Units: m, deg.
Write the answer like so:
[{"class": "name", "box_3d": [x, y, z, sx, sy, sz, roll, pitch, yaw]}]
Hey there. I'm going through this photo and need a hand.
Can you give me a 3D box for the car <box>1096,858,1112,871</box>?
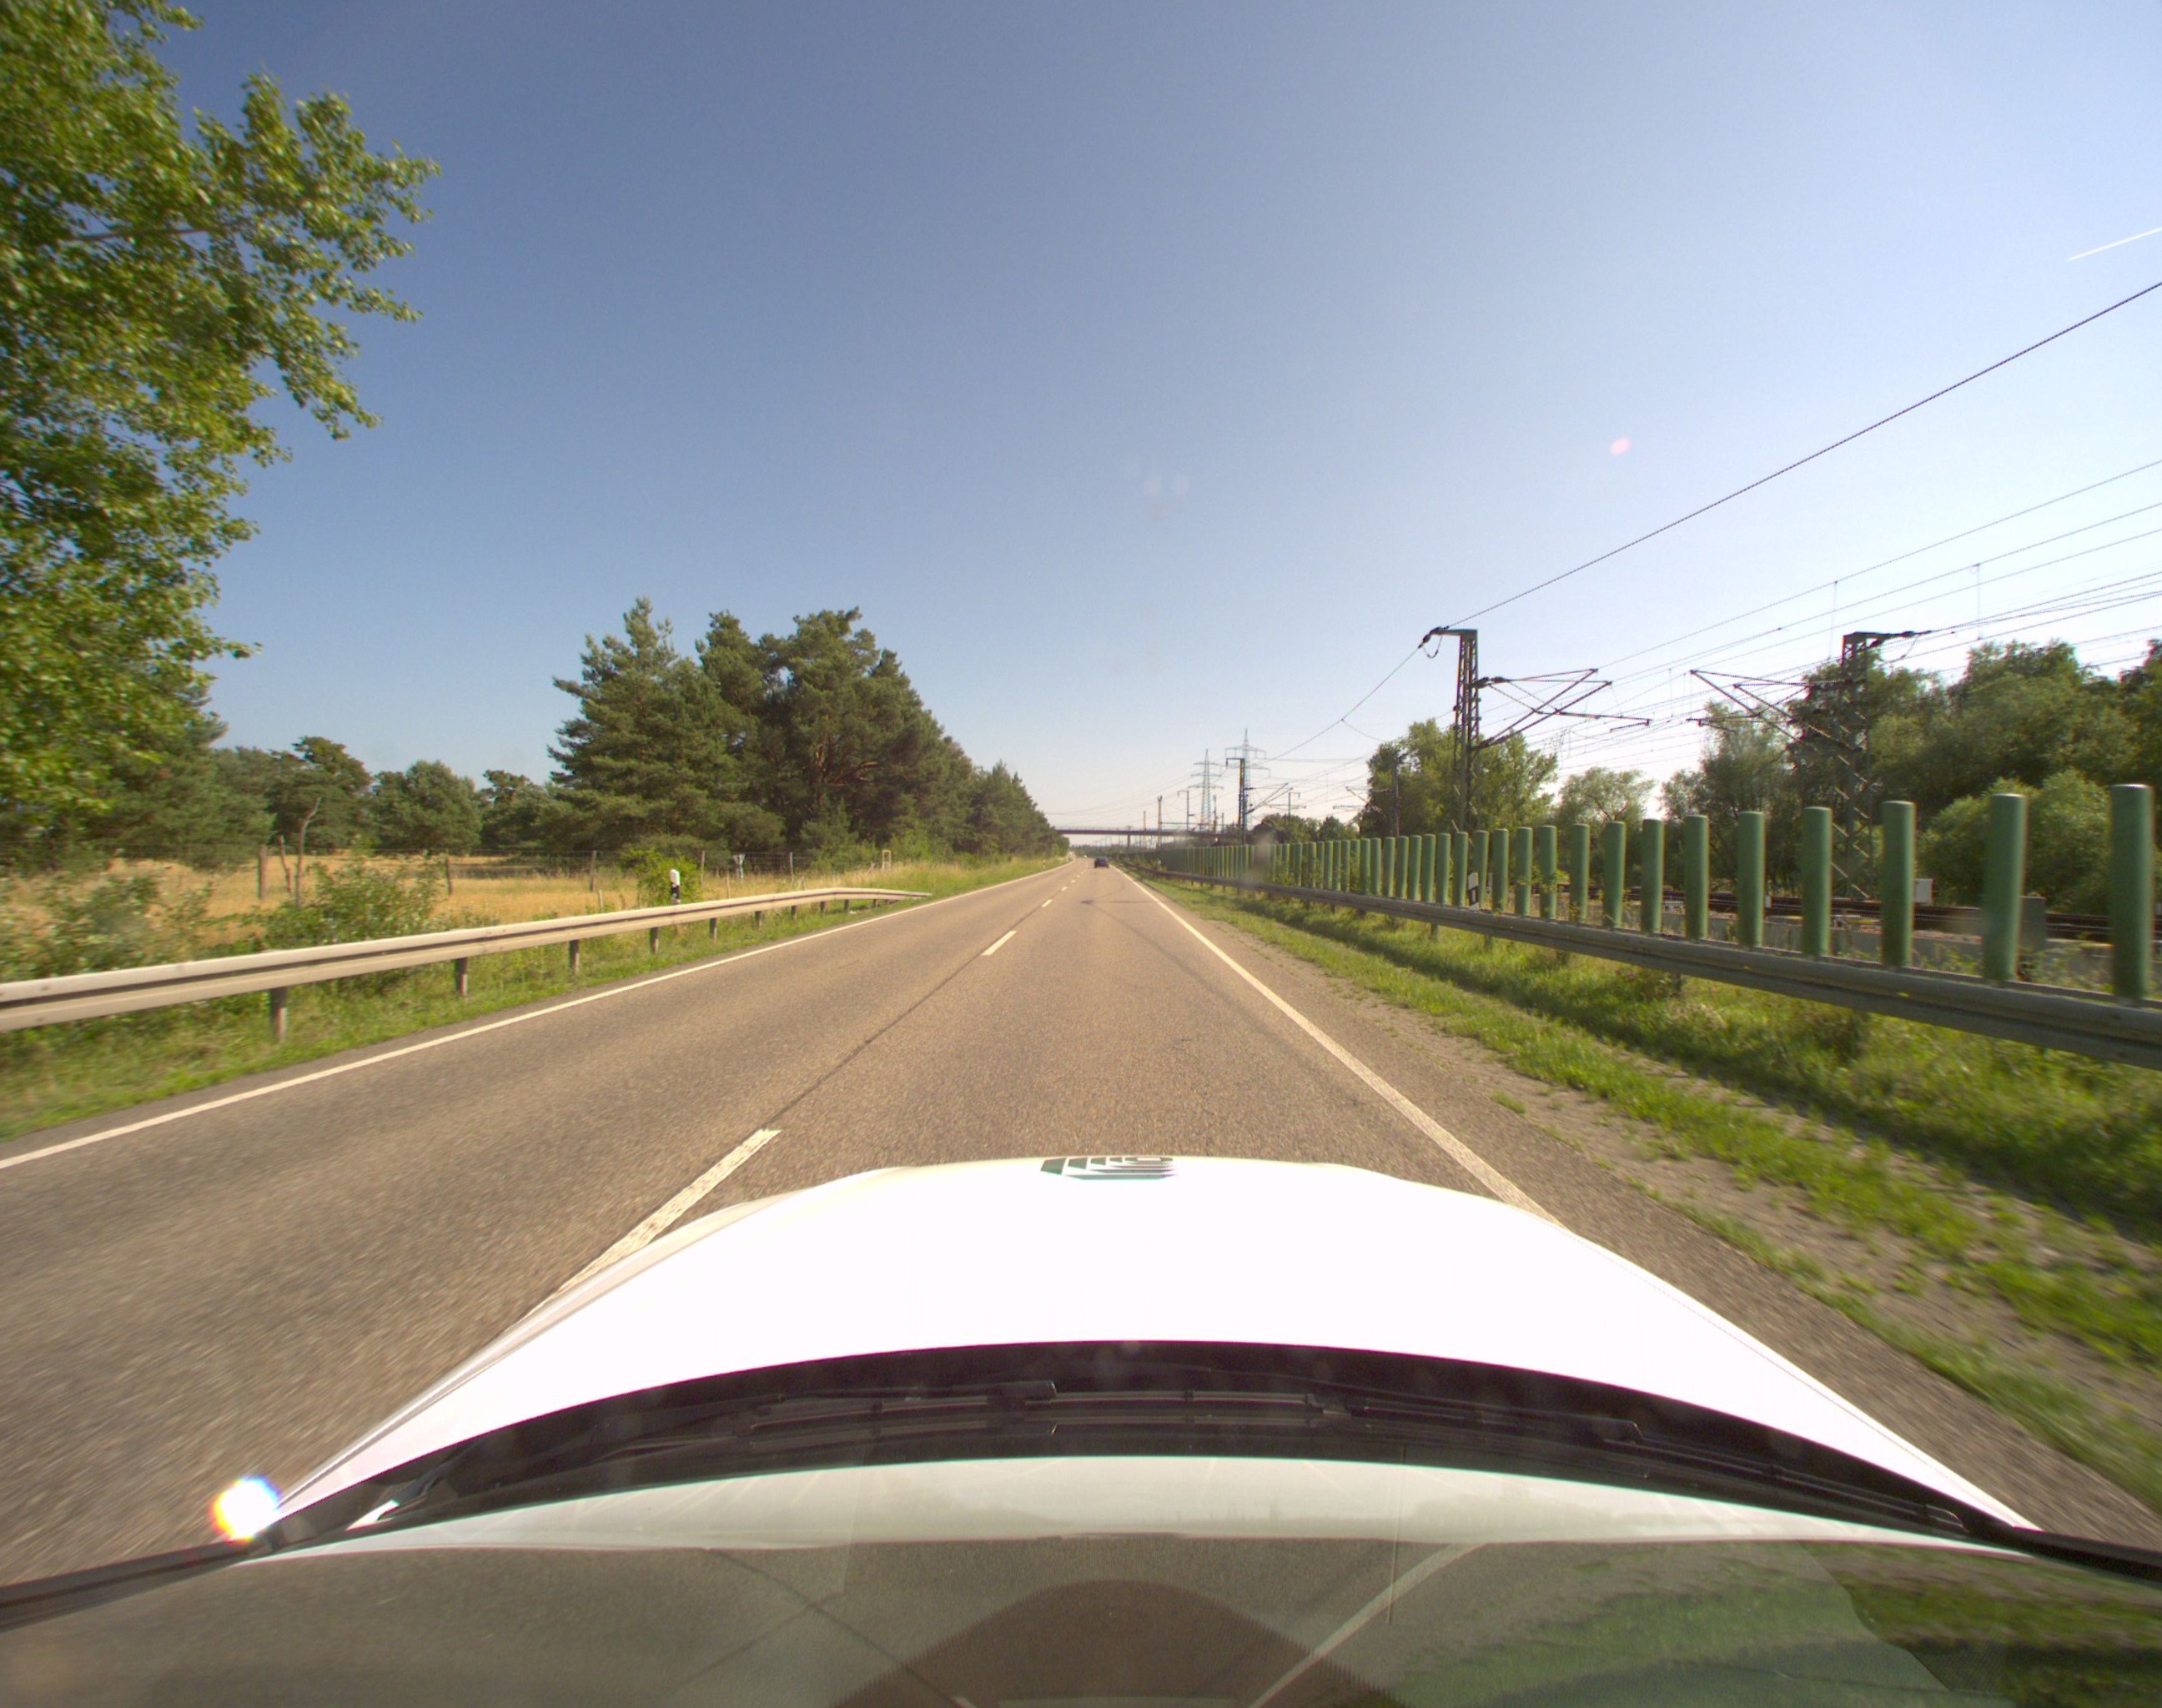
[{"class": "car", "box_3d": [2.855, 1.302, 103.496, 1.853, 1.642, 3.998, -1, 0, -1]}]
